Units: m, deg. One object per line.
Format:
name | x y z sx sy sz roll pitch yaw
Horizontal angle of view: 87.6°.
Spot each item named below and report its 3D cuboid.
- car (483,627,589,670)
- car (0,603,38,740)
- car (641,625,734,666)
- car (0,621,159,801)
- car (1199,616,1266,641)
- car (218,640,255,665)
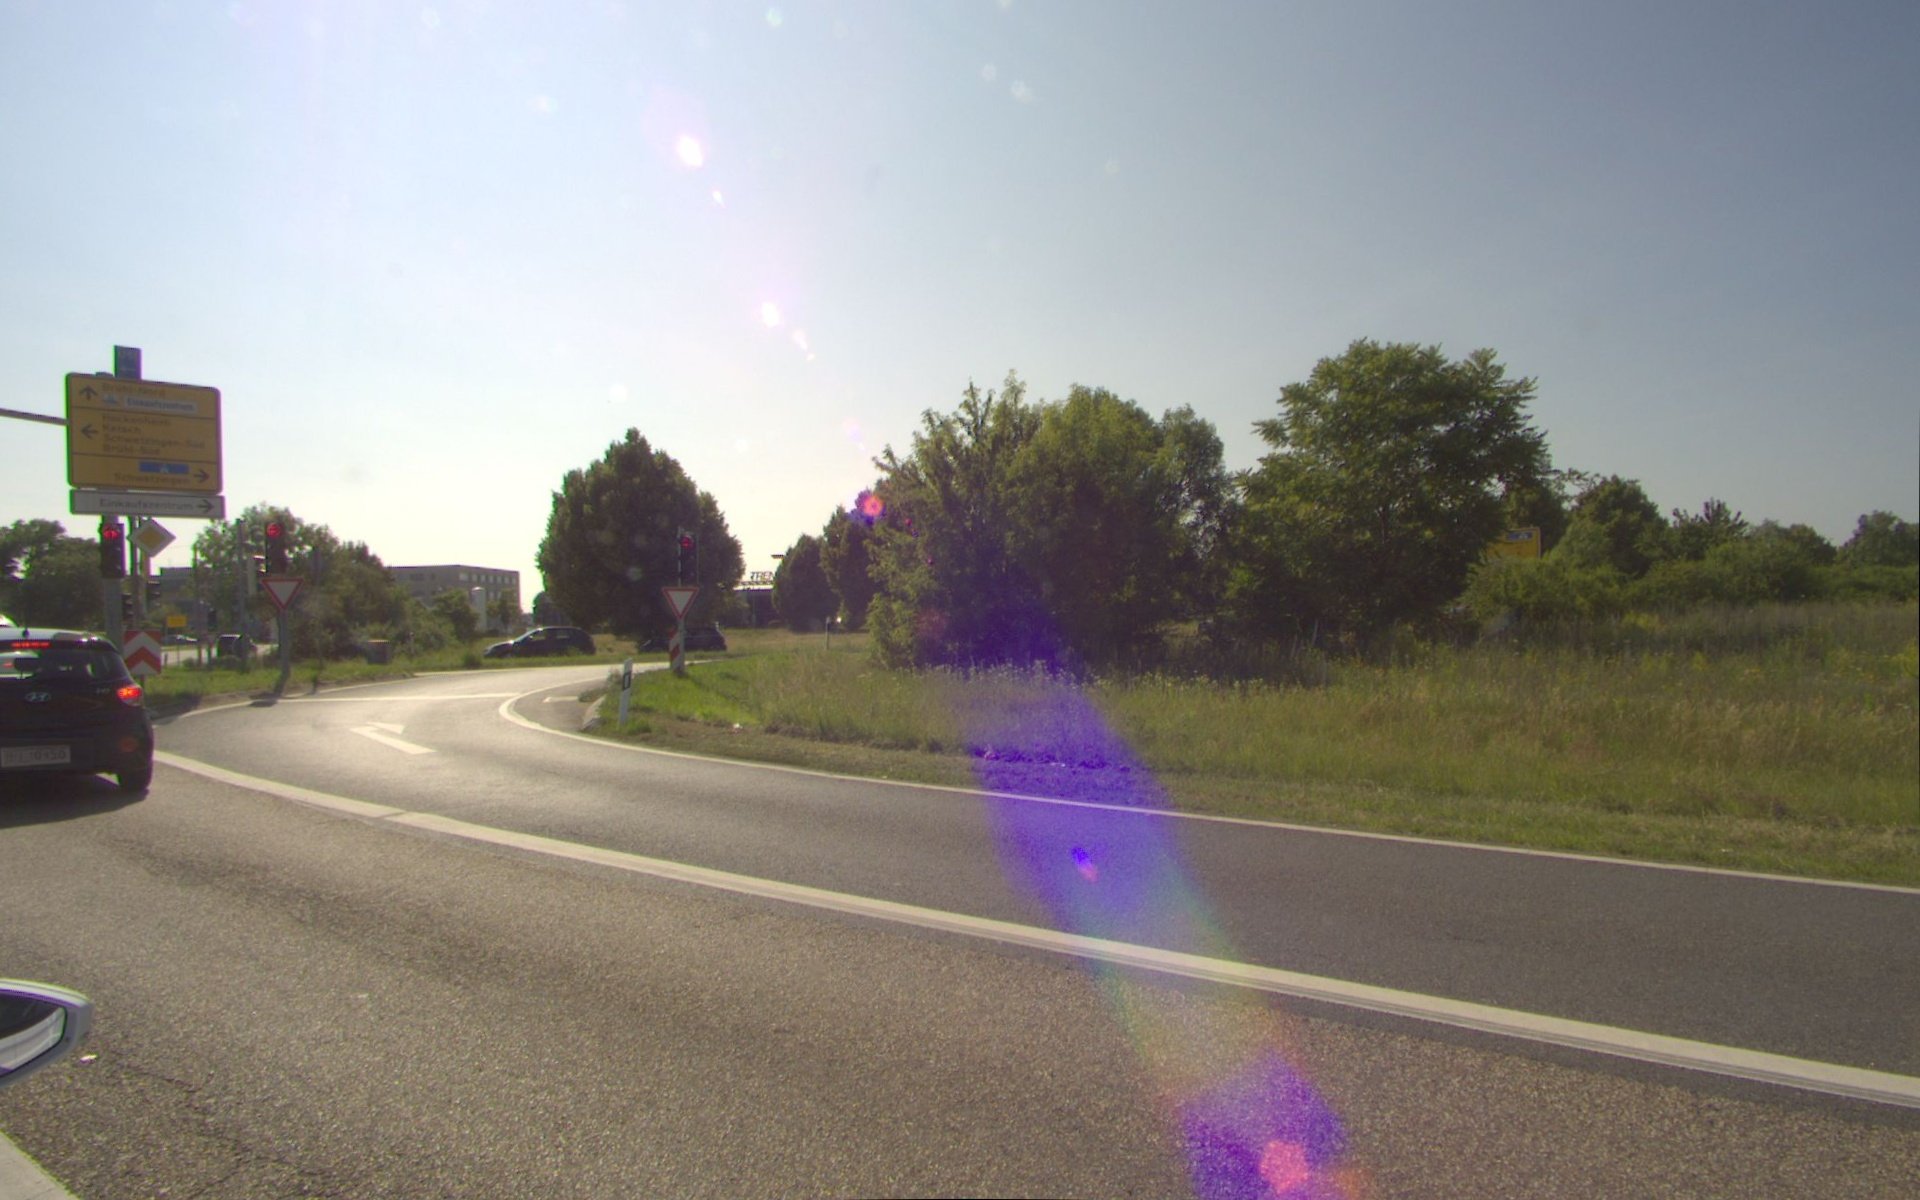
car | -15.805 1.801 37.382 3.495 1.535 1.455 1 -2 -30
car | -13.678 0.920 13.292 3.705 1.698 1.626 -2 -2 39
car | -12.141 1.999 44.593 3.820 1.718 1.822 -1 -1 -22
car | -8.910 0.935 9.336 3.255 1.466 1.626 -1 -2 39
car | 15.070 1.595 55.439 3.562 1.338 1.525 1 -2 -30
car | -51.748 3.751 71.716 1.857 1.694 3.750 1 -3 -32
